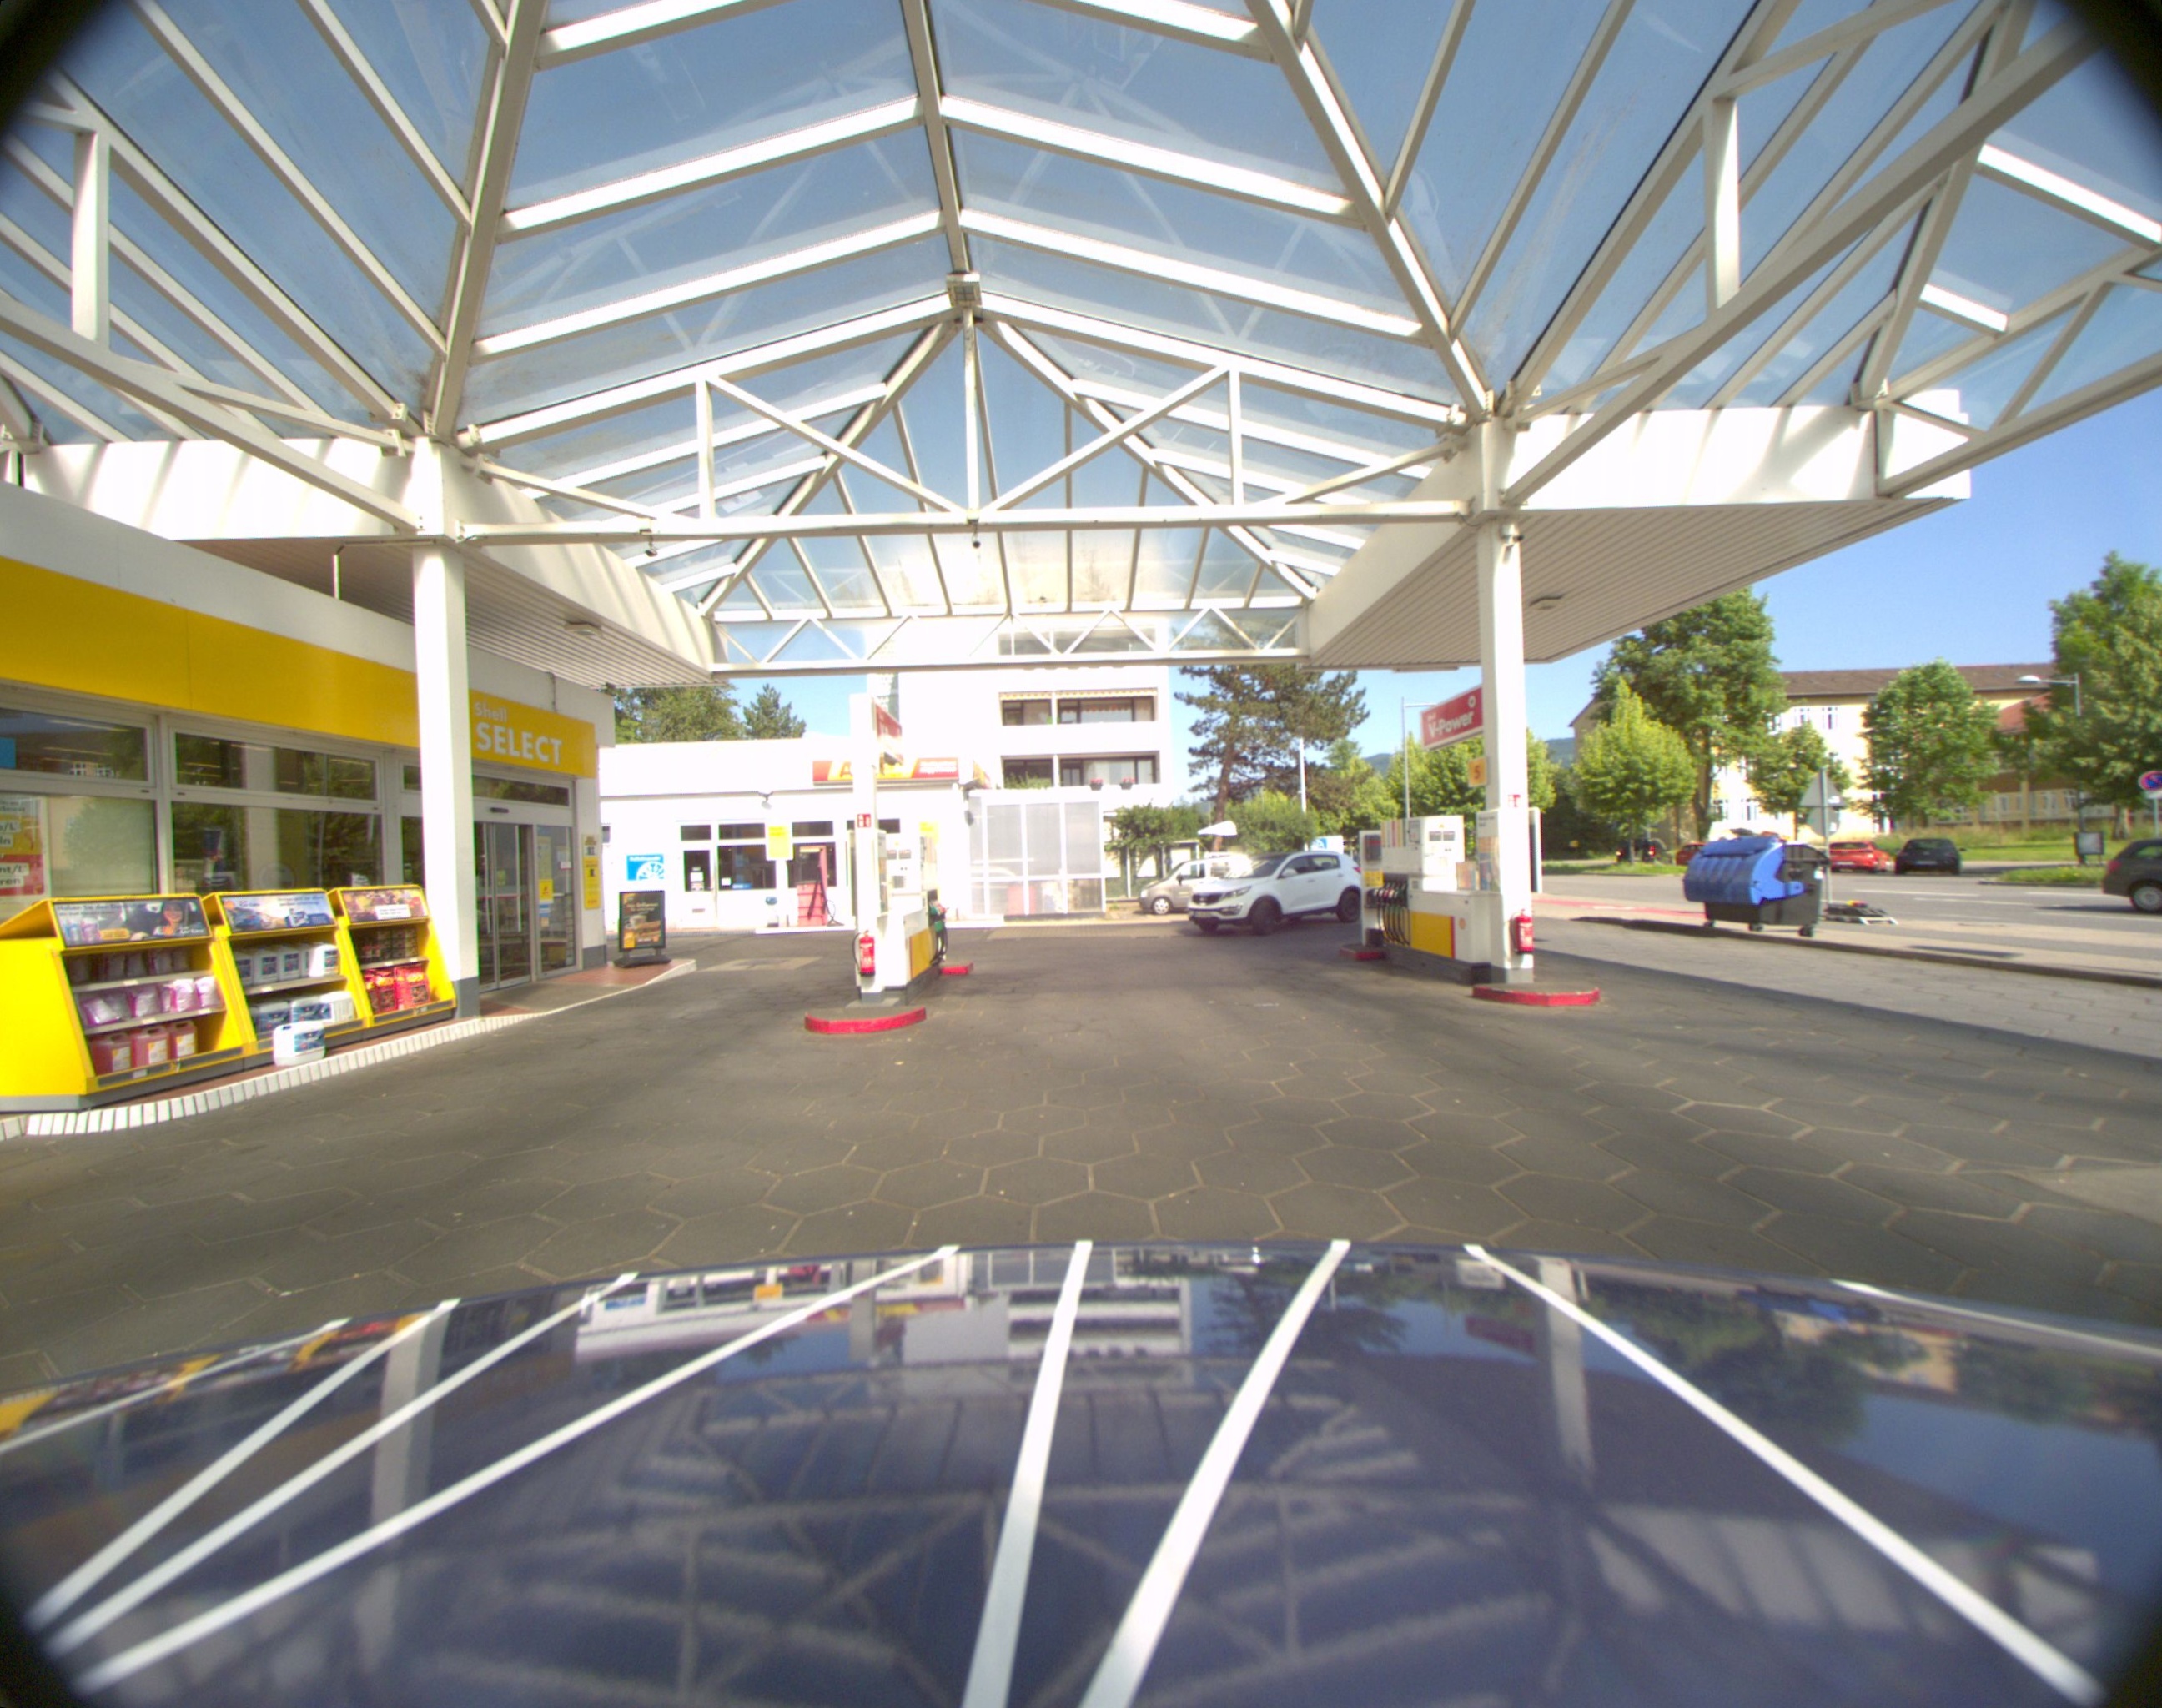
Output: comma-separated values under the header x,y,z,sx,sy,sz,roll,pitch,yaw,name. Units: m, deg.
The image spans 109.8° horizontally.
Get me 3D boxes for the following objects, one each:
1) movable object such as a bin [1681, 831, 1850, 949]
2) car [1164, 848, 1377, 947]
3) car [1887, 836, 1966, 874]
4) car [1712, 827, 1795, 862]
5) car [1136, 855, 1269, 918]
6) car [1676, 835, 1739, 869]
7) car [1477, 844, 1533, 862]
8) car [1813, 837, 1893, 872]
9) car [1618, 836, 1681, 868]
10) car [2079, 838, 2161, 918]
x,y,z,sx,sy,sz,roll,pitch,yaw,name
10.341,0.511,11.568,1.342,1.678,1.337,0,1,1,movable object such as a bin
4.146,0.844,16.411,4.314,1.696,1.957,-3,0,-32,car
34.203,0.038,30.704,4.234,1.451,1.737,0,0,-36,car
34.224,-0.477,38.650,4.232,1.712,1.877,-1,1,-30,car
3.574,0.939,22.809,3.659,1.607,1.692,-3,0,1,car
34.084,-0.122,41.291,4.234,1.712,1.876,0,1,-40,car
33.717,-0.119,60.396,3.730,1.383,1.878,0,1,-19,car
33.858,0.000,33.296,4.234,1.451,1.876,-1,1,-36,car
32.105,-0.133,42.851,4.234,1.712,1.876,0,1,-40,car
21.297,0.457,13.396,1.568,1.459,4.377,-3,0,-1,car
